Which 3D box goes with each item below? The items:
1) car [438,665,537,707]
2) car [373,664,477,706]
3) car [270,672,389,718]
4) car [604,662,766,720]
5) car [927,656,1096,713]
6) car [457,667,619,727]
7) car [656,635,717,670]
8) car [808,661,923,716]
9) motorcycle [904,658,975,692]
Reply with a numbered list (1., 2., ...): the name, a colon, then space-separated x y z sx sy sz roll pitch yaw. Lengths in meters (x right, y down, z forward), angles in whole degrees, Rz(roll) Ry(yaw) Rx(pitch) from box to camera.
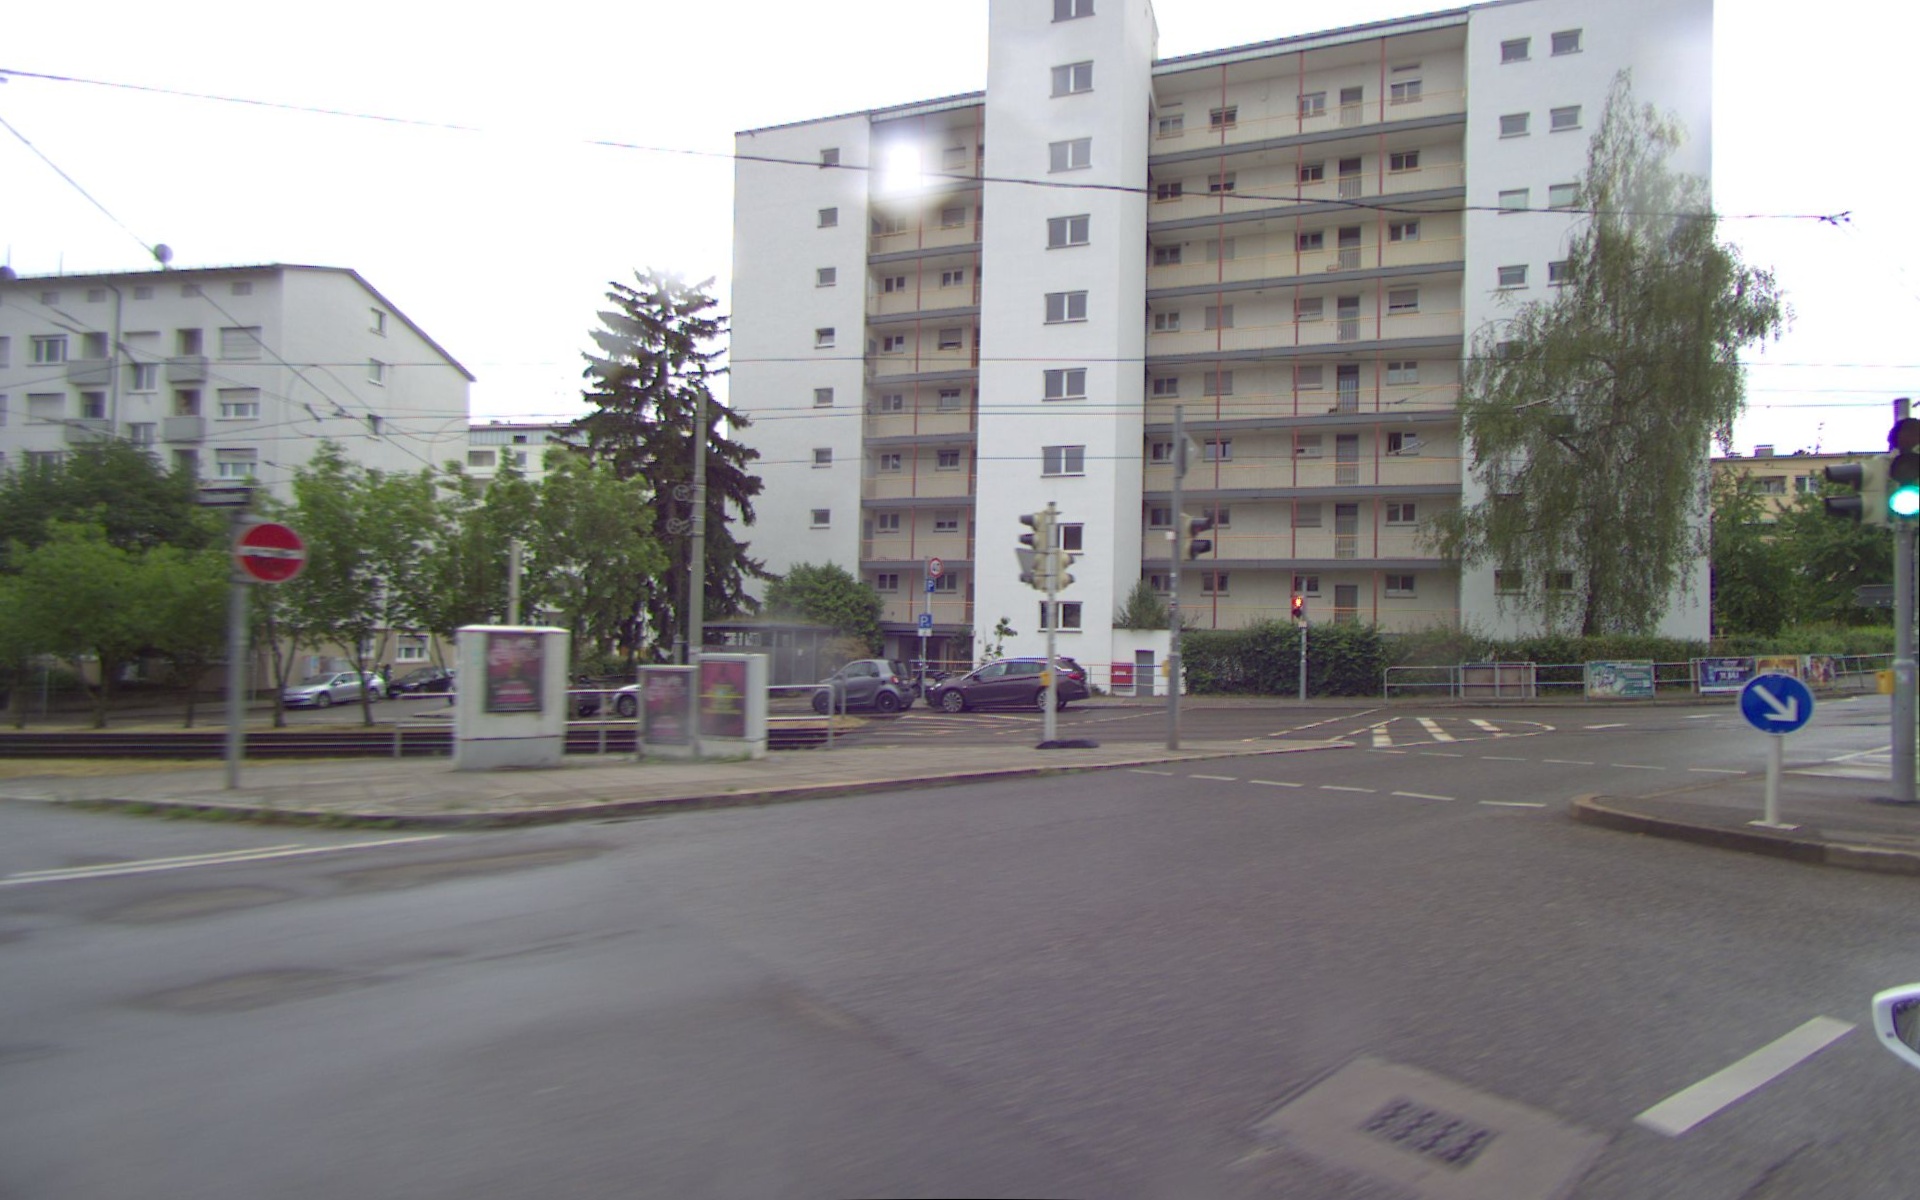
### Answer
1. car: -20.163 3.649 43.066 1.788 1.462 4.003 2 -1 11
2. car: -26.066 4.111 49.116 1.959 1.684 4.588 2 -1 11
3. car: -27.101 4.044 43.338 1.959 1.583 4.196 2 -1 11
4. car: -8.263 2.738 30.317 4.225 1.528 2.001 -2 -1 13
5. car: 1.464 2.337 27.847 4.401 1.480 1.876 -2 -4 13
6. car: -13.128 3.005 31.314 4.225 1.527 2.001 -4 -2 13
7. car: -16.610 3.152 61.112 1.959 1.923 4.003 2 -1 11
8. car: -2.687 2.538 28.905 2.834 1.411 1.812 -2 -2 12
9. motorcycle: -0.674 2.485 33.481 2.191 0.952 0.900 -4 -2 11
